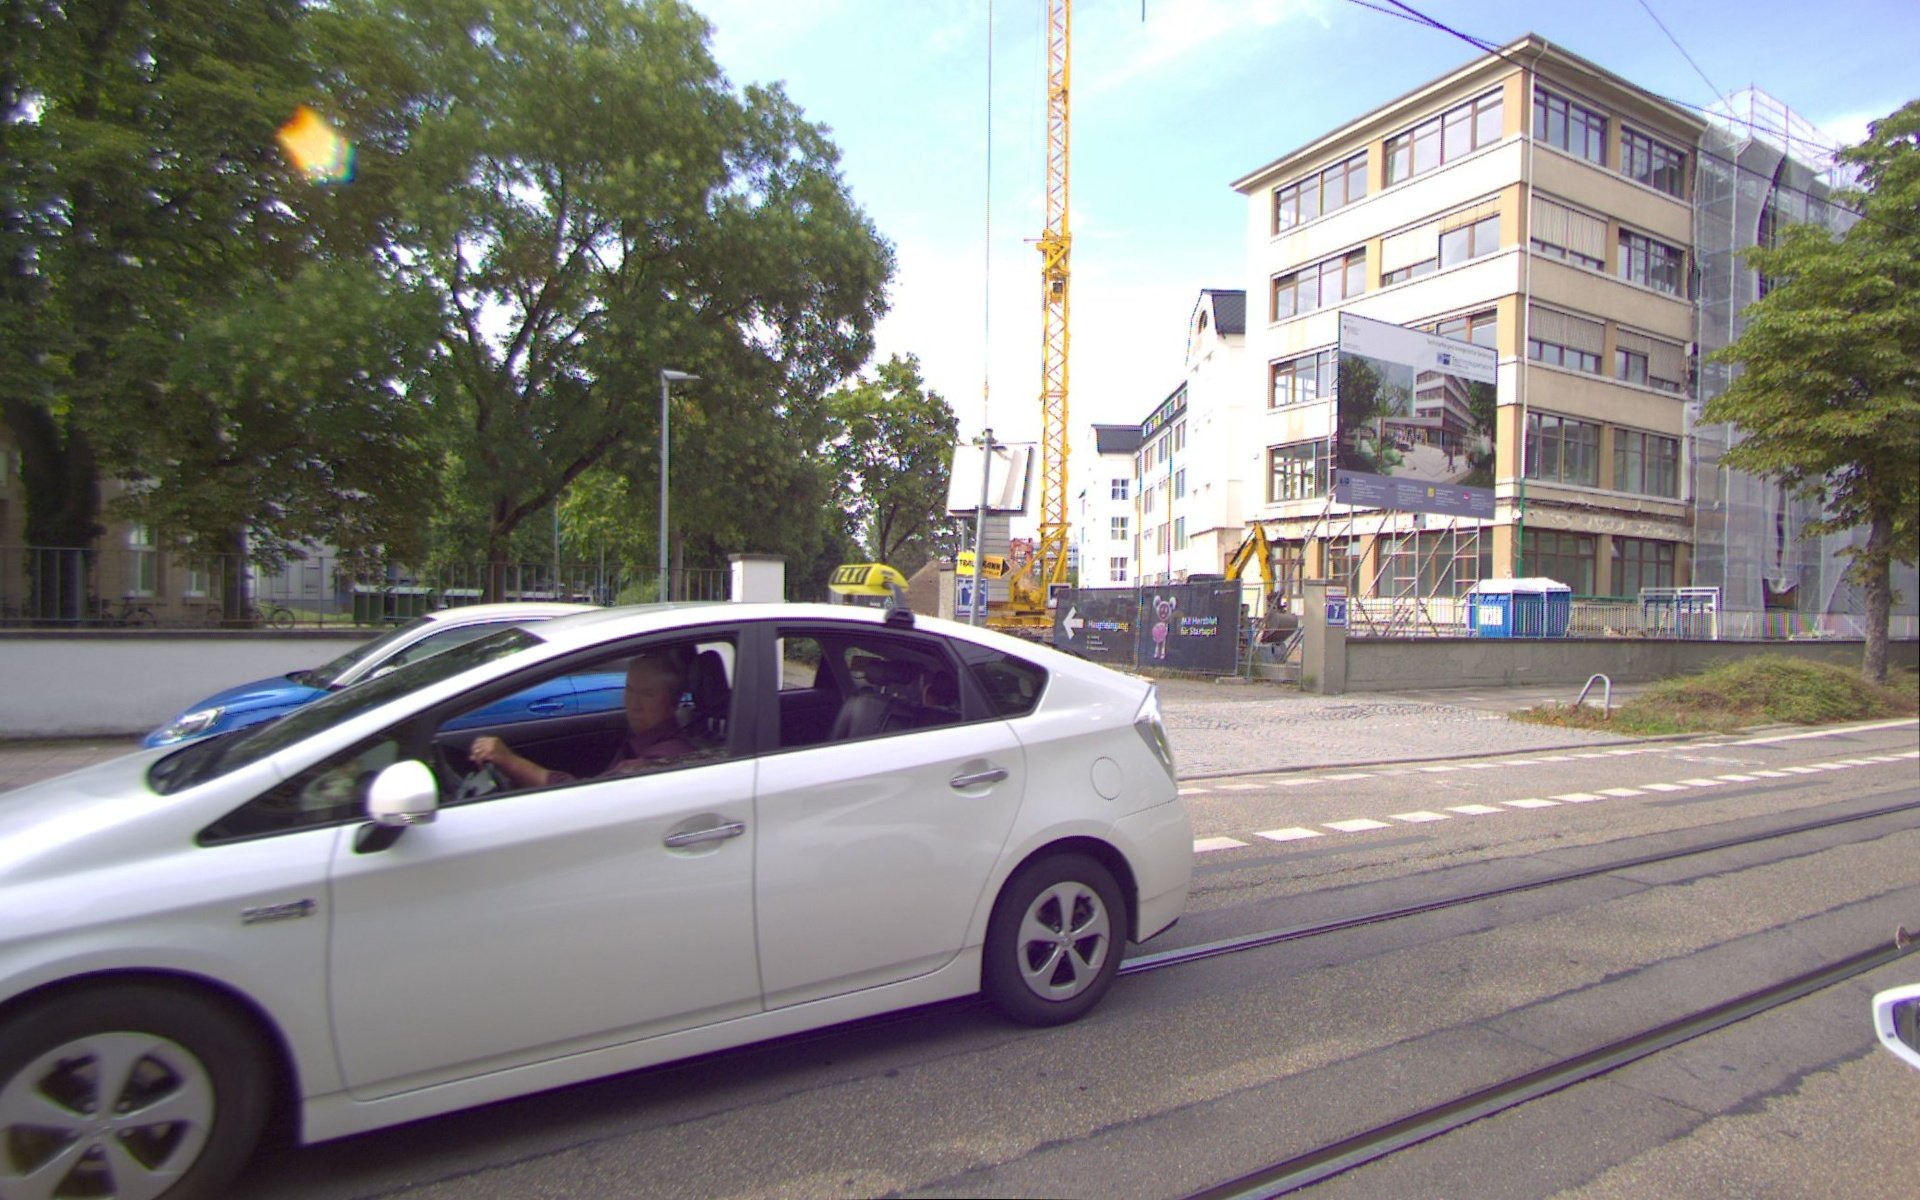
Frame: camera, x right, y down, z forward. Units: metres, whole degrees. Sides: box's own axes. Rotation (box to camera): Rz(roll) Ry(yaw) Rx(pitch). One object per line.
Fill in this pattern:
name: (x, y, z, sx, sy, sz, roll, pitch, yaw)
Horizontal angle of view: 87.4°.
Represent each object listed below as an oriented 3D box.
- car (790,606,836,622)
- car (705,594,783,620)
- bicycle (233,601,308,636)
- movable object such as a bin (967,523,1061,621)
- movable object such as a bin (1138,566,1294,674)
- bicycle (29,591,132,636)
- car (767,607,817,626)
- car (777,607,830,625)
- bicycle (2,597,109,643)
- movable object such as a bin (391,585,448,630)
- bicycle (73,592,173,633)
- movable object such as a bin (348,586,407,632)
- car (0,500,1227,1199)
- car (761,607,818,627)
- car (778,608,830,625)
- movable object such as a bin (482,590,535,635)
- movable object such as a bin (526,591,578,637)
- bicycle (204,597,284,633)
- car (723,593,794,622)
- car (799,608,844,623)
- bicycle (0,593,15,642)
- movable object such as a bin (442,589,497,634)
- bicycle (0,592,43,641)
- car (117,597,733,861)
car: (-15.505, 1.478, 105.874, 4.719, 1.508, 1.997, 2, 0, -8)
car: (-13.830, 0.455, 64.599, 4.719, 1.508, 1.997, 2, 0, -8)
bicycle: (-22.203, 0.598, 32.353, 1.940, 1.057, 0.594, 1, 1, -4)
movable object such as a bin: (4.254, -1.866, 75.038, 3.781, 6.758, 10.988, 2, 0, 20)
movable object such as a bin: (6.281, 0.483, 24.990, 2.459, 2.475, 3.048, 2, 0, -19)
bicycle: (-21.946, 0.332, 25.079, 1.940, 1.057, 0.594, 1, 1, -4)
car: (-14.785, 1.476, 88.655, 4.268, 1.564, 1.751, 2, 0, -8)
car: (-14.312, 1.483, 91.976, 4.719, 1.508, 1.997, 2, 0, -8)
bicycle: (-21.861, 0.478, 24.298, 1.940, 1.057, 0.594, 1, 1, -4)
movable object such as a bin: (-18.013, 0.246, 33.507, 1.259, 1.449, 1.122, 2, 0, -2)
bicycle: (-22.347, 0.330, 26.861, 1.953, 1.057, 0.590, 1, 1, -28)
movable object such as a bin: (-19.376, 0.296, 33.443, 1.259, 1.449, 1.122, 2, 0, -2)
car: (-1.249, 0.637, 3.559, 4.282, 1.634, 1.724, 1, -1, -30)
car: (-14.539, 1.446, 85.990, 4.719, 1.508, 1.997, 2, 0, -8)
car: (-14.696, 1.547, 94.801, 4.719, 1.508, 1.997, 2, 0, -8)
movable object such as a bin: (-15.102, 0.426, 33.633, 1.259, 1.449, 1.122, 2, 0, -2)
movable object such as a bin: (-13.584, 0.461, 33.468, 1.259, 1.449, 1.122, 2, 0, -2)
bicycle: (-22.082, 0.469, 30.997, 1.940, 1.057, 0.594, 1, 1, -4)
car: (-15.181, 0.574, 75.890, 4.965, 1.979, 1.999, 2, 0, -4)
car: (-15.027, 1.649, 108.886, 4.719, 1.508, 1.997, 2, 0, -8)
bicycle: (-21.834, 0.368, 21.817, 1.940, 1.057, 0.594, 1, 1, -4)
movable object such as a bin: (-16.441, 0.386, 33.706, 1.259, 1.449, 1.122, 2, 0, -2)
bicycle: (-21.918, 0.354, 22.597, 1.940, 1.057, 0.594, 1, 1, -4)
car: (-3.637, 0.760, 7.306, 3.560, 1.484, 1.620, 1, 0, -30)
